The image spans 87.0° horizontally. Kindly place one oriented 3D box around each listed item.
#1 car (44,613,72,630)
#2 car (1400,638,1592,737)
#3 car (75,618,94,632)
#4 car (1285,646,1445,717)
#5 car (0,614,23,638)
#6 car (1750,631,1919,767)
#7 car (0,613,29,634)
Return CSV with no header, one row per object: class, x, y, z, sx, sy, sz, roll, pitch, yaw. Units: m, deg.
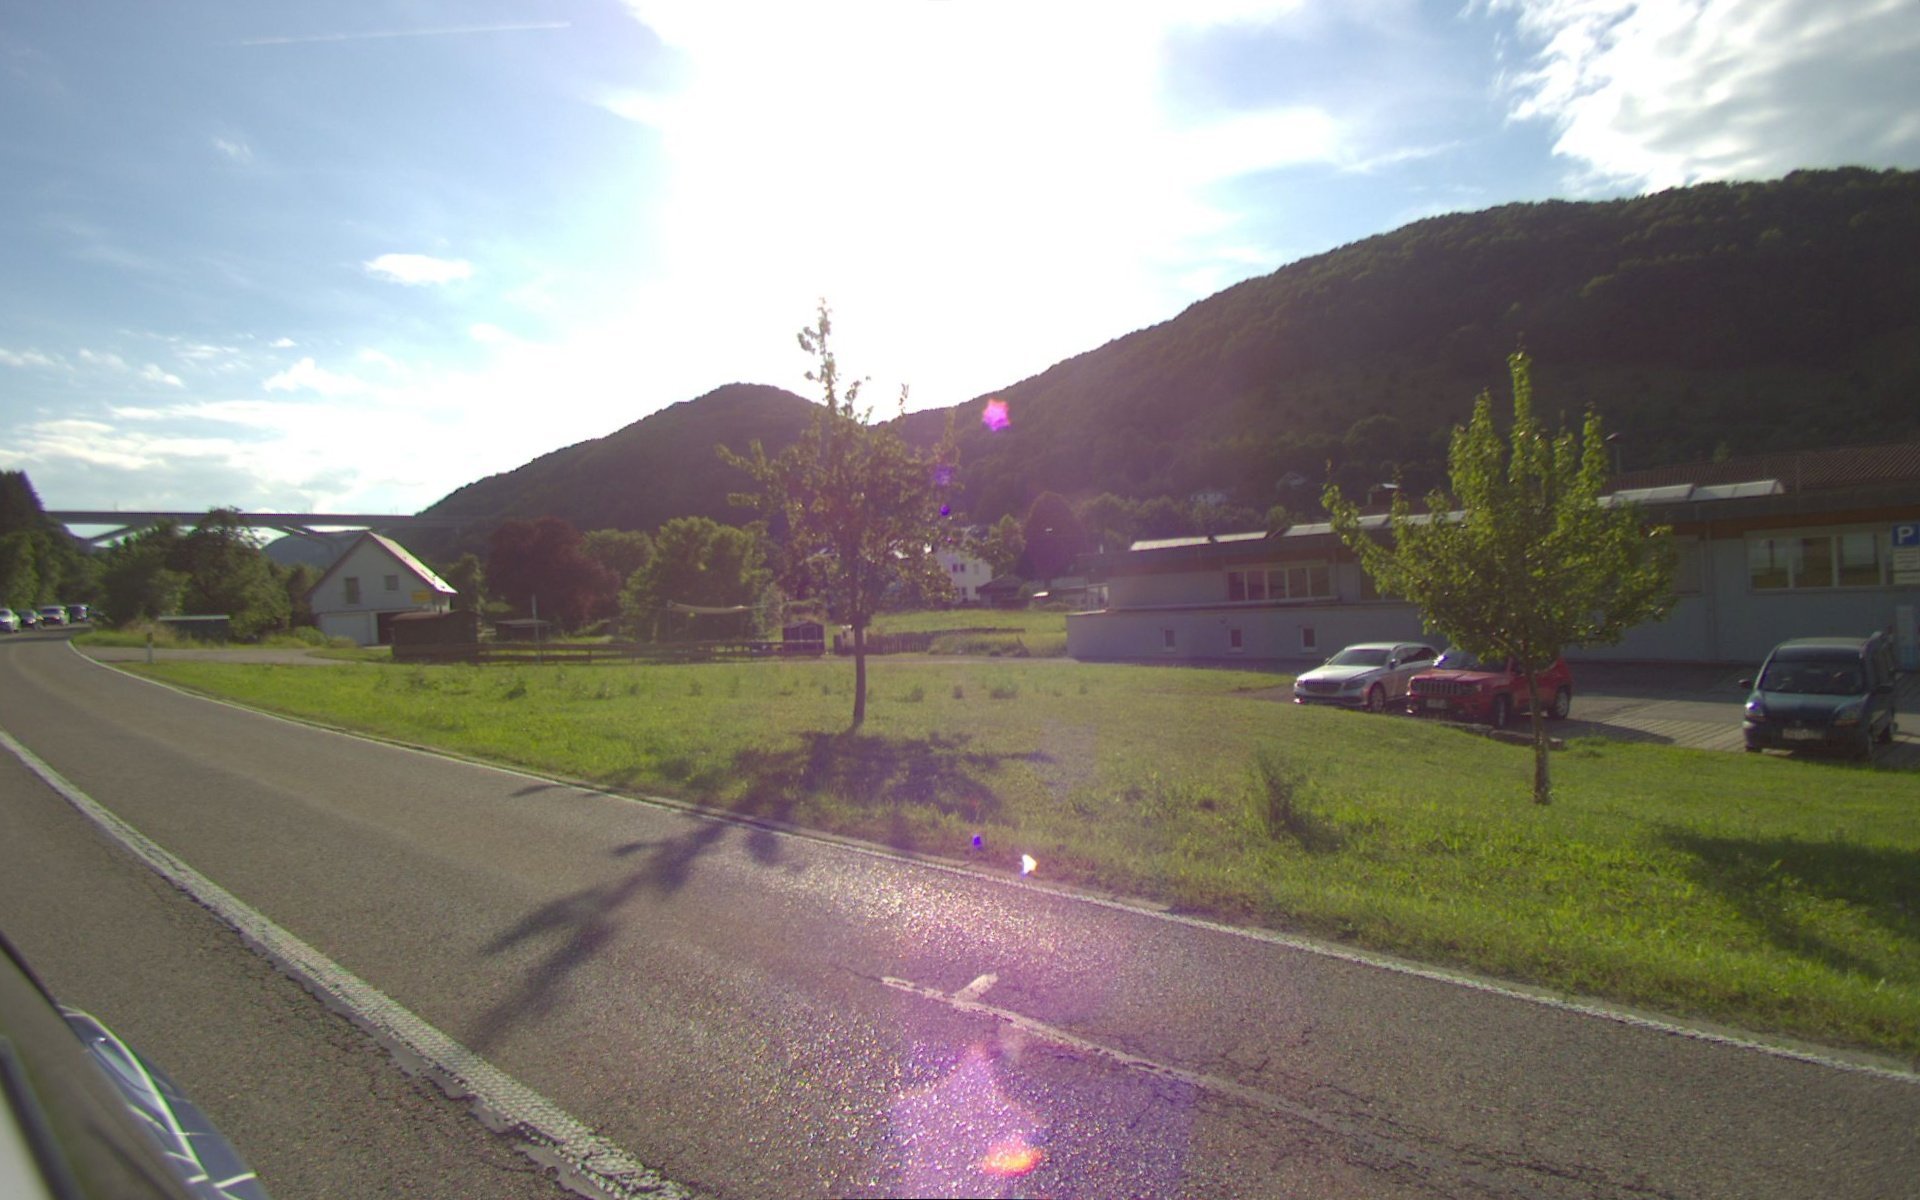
car,-80.780,1.898,90.623,3.681,1.490,1.607,0,0,45
car,11.224,1.732,21.107,4.264,1.682,1.852,-1,0,-36
car,-99.046,2.868,114.548,1.606,1.490,3.685,-1,0,-41
car,9.541,1.836,23.752,3.837,1.379,1.856,0,0,-39
car,-62.201,1.703,65.766,3.679,1.490,1.608,0,0,42
car,14.972,1.519,17.130,4.931,1.807,1.687,-1,0,-42
car,-71.874,1.745,76.865,1.606,1.490,3.685,-1,0,-41
